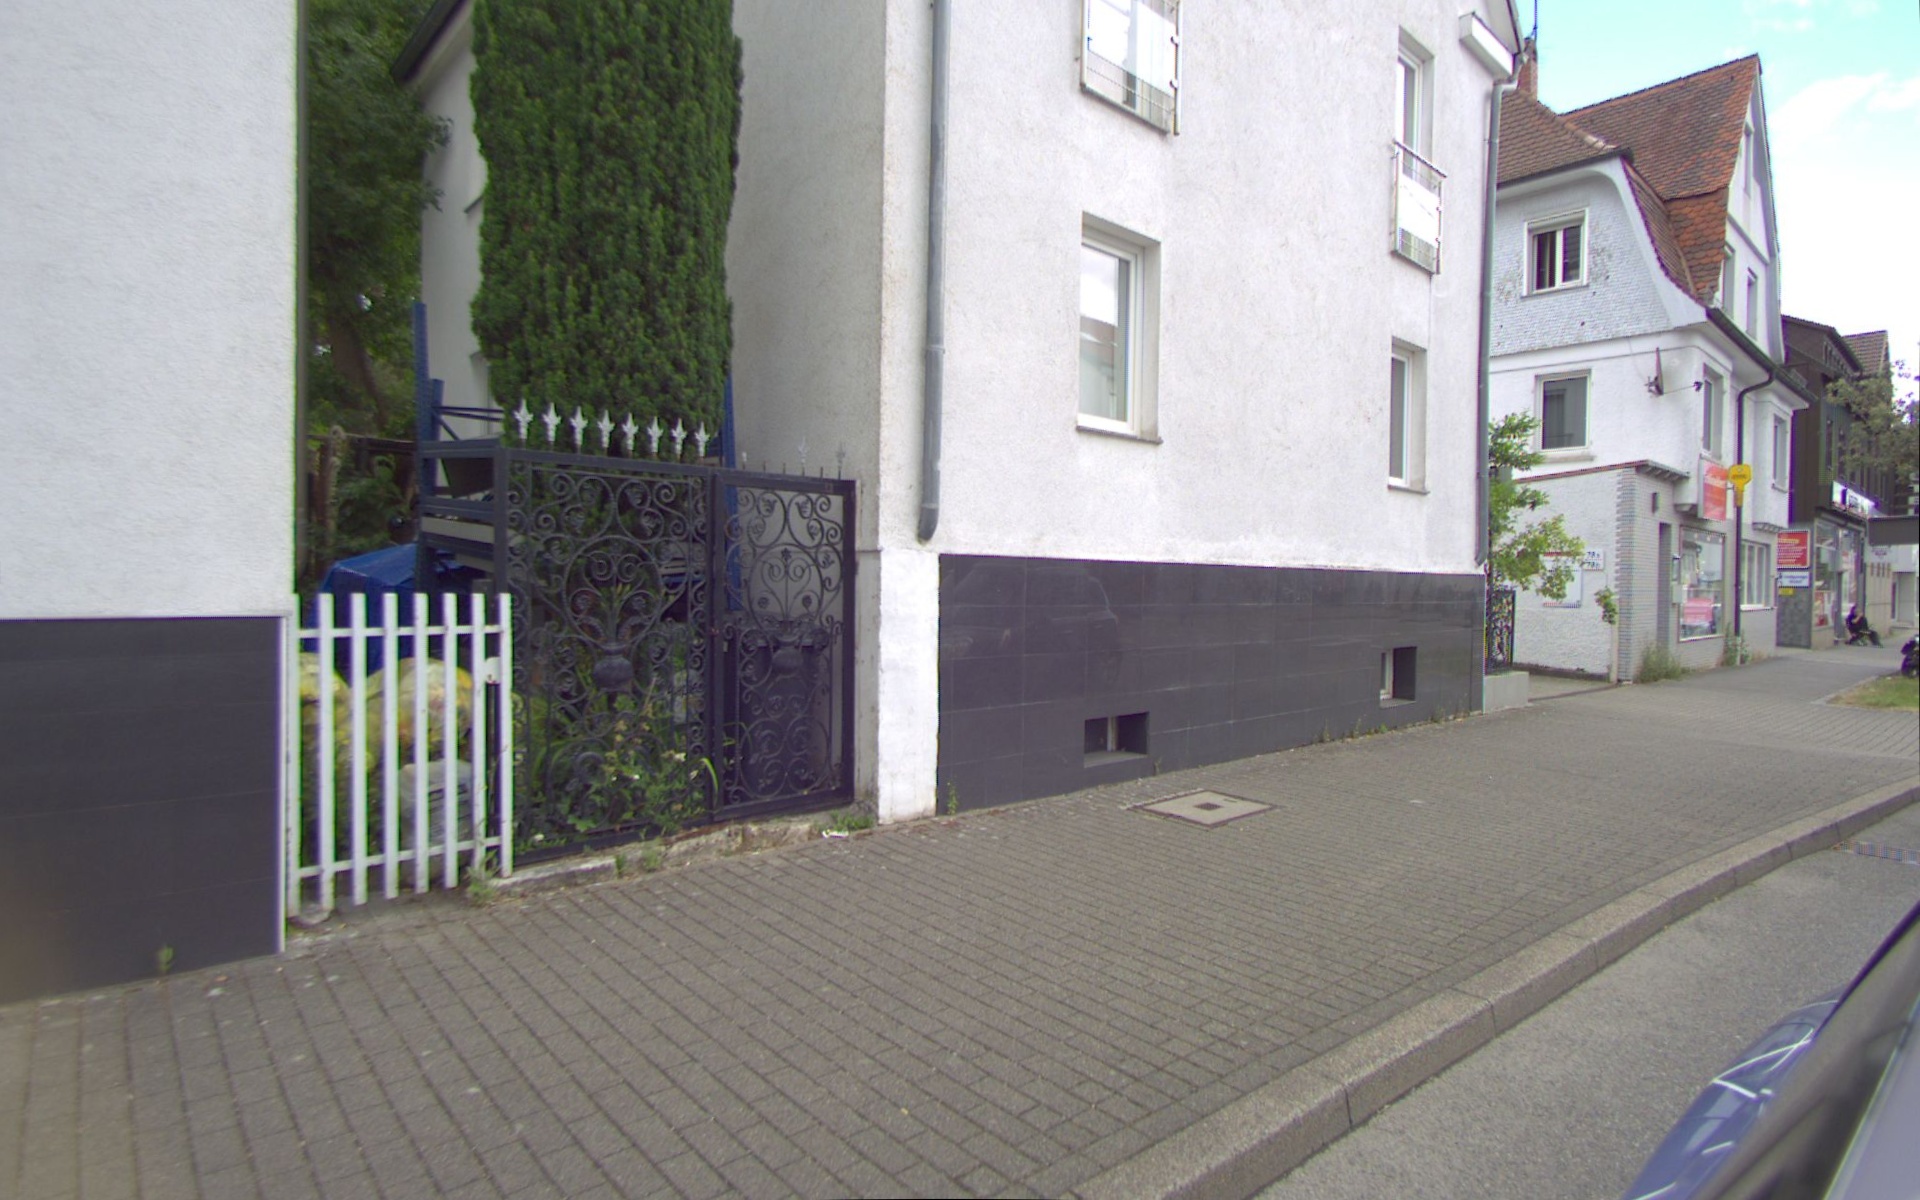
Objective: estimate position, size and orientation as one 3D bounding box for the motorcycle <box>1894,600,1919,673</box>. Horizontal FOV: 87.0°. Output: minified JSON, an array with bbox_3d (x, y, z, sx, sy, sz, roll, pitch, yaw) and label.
[{"bbox_3d":[18.713,0.713,18.934,0.763,1.399,2.236,0,0,11],"label":"motorcycle"}]

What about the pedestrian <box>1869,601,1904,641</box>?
[{"bbox_3d":[29.707,0.656,32.437,0.633,1.226,0.741,0,2,-42],"label":"pedestrian"}]
